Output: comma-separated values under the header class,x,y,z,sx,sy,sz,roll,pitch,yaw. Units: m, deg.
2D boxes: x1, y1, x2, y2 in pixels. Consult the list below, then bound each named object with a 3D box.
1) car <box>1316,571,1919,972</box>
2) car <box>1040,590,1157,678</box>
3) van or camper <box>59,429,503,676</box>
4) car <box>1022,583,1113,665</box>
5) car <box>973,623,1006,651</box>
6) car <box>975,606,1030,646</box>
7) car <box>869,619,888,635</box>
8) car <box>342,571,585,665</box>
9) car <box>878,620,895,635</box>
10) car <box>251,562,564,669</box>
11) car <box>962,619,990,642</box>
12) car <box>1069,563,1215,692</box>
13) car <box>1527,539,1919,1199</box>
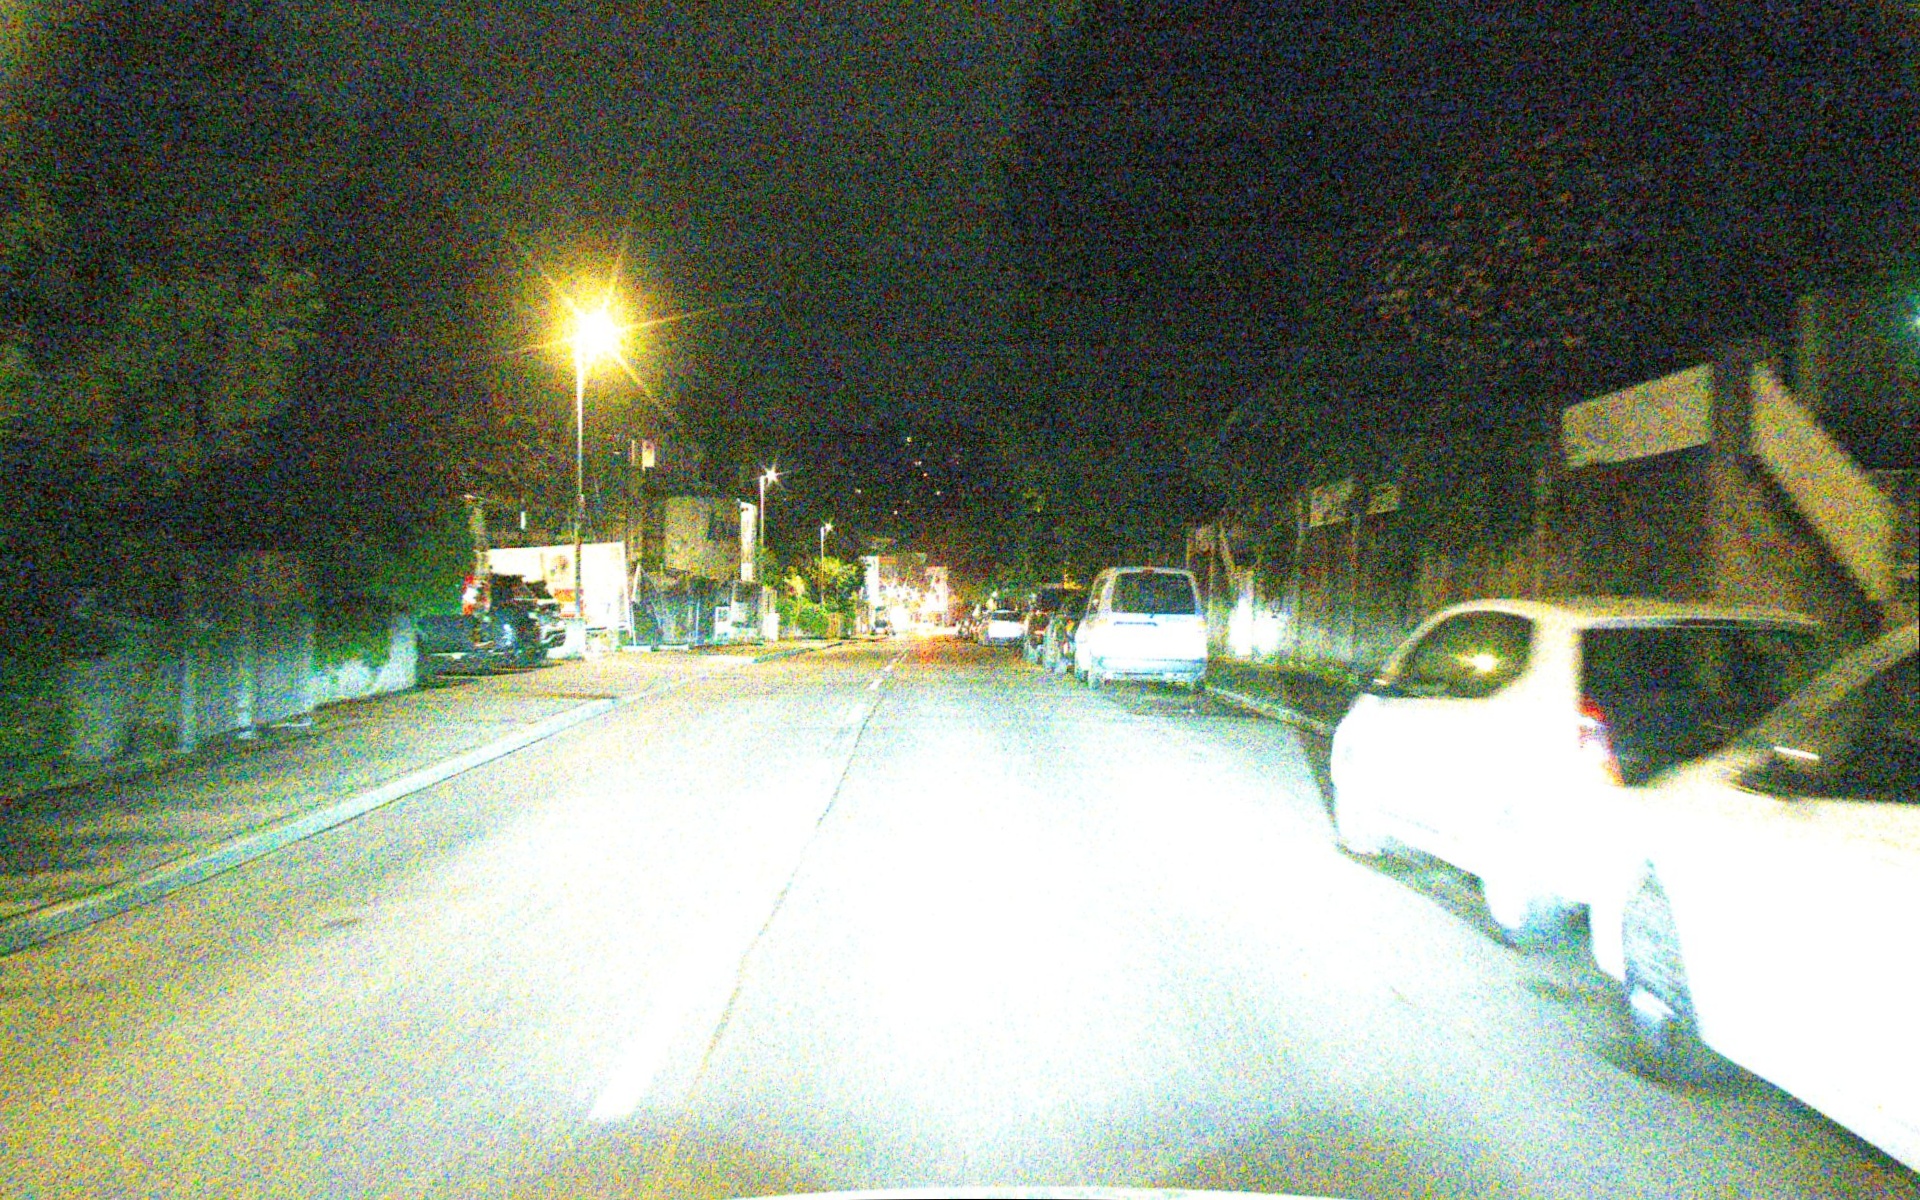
class,x,y,z,sx,sy,sz,roll,pitch,yaw
car,3.059,0.652,8.461,1.576,1.486,3.716,-2,2,-1
car,2.542,0.601,31.217,1.708,1.496,4.255,2,0,-1
van or camper,-9.179,-0.600,22.877,5.302,3.165,2.127,1,0,-11
car,2.334,0.538,36.838,1.794,1.693,4.619,0,-1,1
car,1.579,1.986,89.760,1.597,1.464,3.862,1,-1,-2
car,1.675,1.028,66.373,1.728,1.501,4.271,2,-1,-5
car,-7.679,2.557,156.021,1.718,1.566,3.727,0,-1,-4
car,-8.767,0.294,29.445,3.734,1.582,1.927,1,1,-2
car,-7.657,2.899,173.140,1.718,1.566,3.729,0,-1,-2
car,-8.793,0.258,26.618,4.326,1.641,2.065,0,-1,0
car,1.084,2.097,114.179,1.649,1.474,3.997,1,-1,-3
car,2.732,0.380,25.730,1.683,1.792,4.757,1,0,0
car,3.037,0.689,3.952,1.719,1.621,4.728,1,1,0
